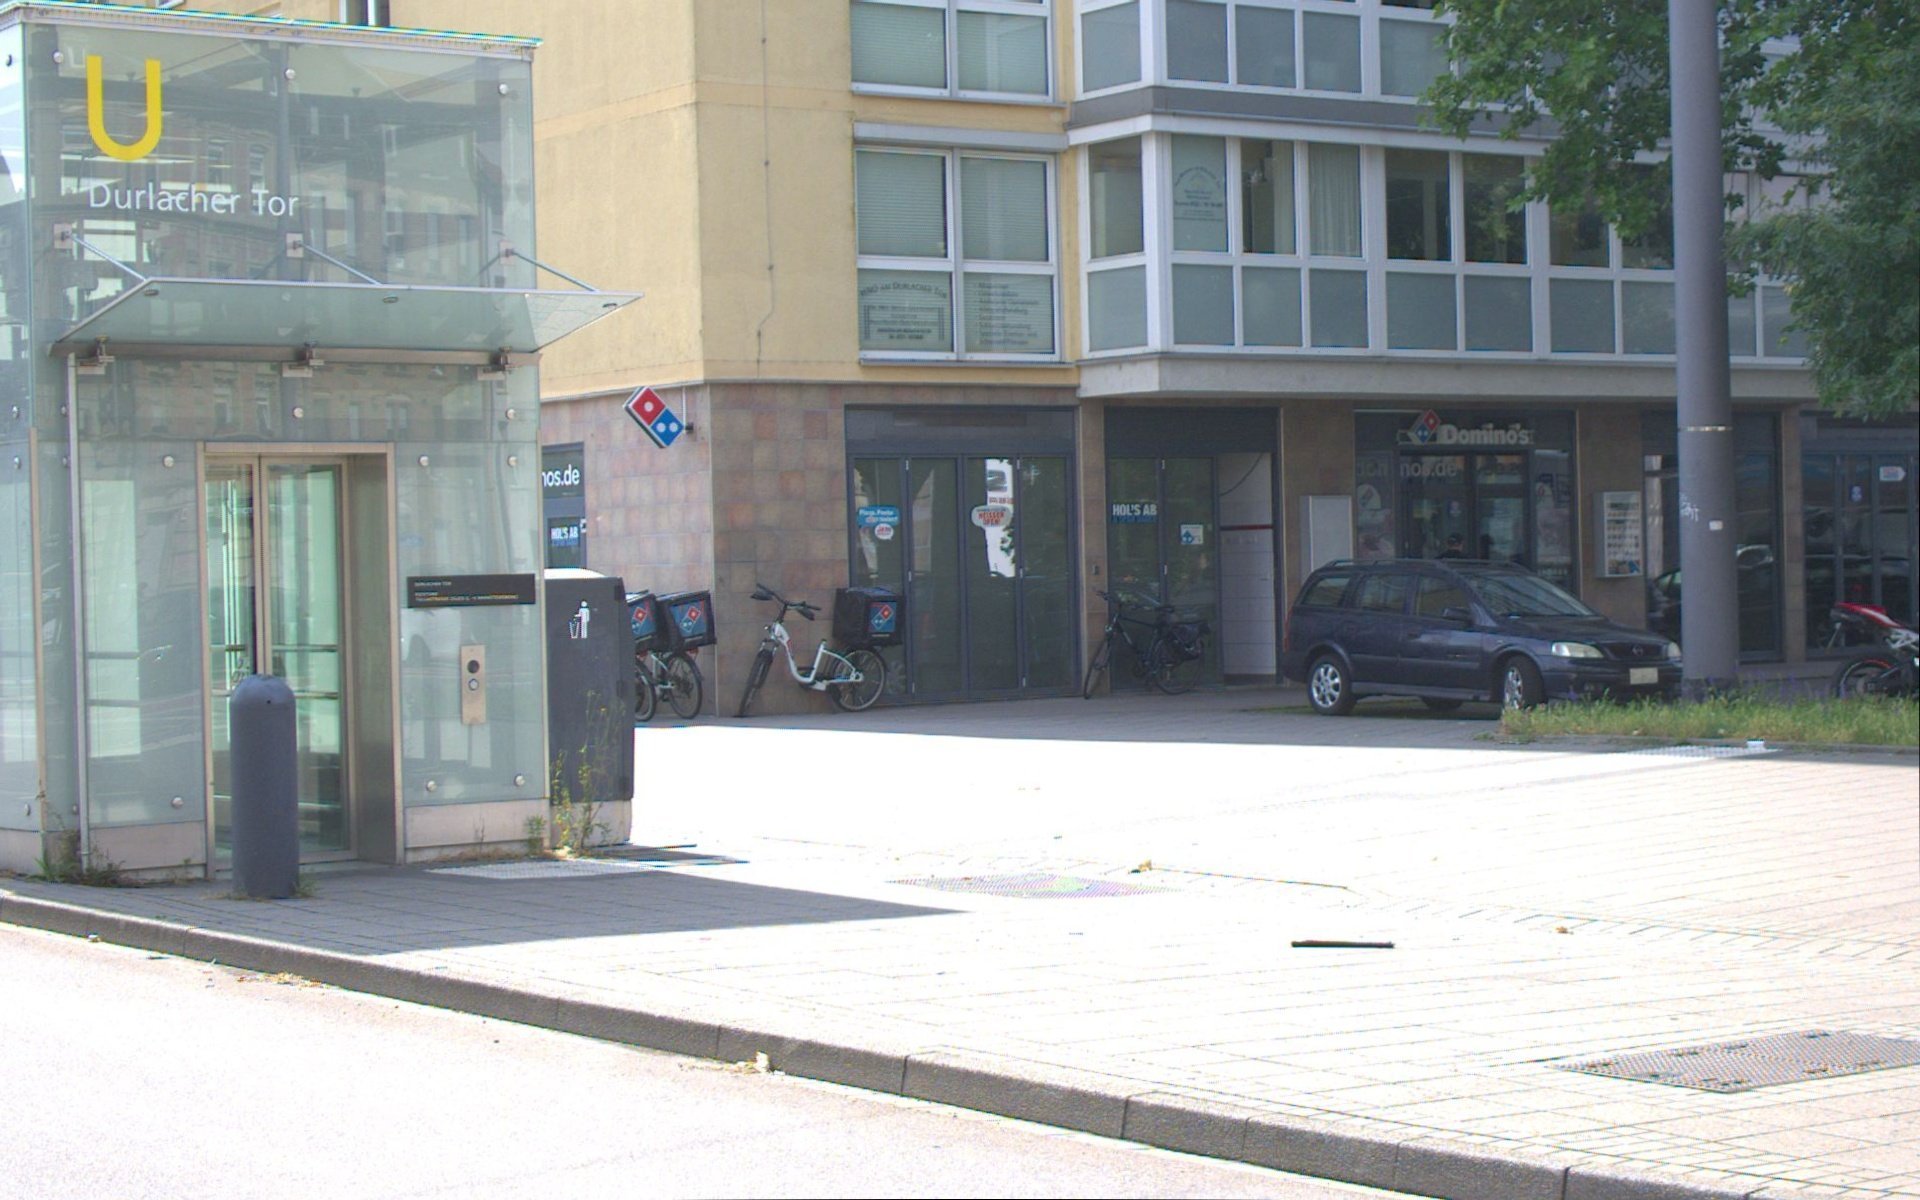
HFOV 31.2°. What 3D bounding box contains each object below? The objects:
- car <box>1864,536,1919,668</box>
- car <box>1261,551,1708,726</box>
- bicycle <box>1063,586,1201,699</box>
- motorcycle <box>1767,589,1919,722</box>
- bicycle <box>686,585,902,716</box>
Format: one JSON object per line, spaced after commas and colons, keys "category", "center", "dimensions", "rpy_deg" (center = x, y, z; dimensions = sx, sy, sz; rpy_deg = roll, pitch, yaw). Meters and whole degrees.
{"category": "car", "center": [12.442, -0.005, 38.832], "dimensions": [1.803, 1.509, 4.095], "rpy_deg": [-2, 1, -35]}
{"category": "car", "center": [4.864, 0.330, 32.354], "dimensions": [1.803, 1.509, 4.095], "rpy_deg": [-2, 1, -35]}
{"category": "bicycle", "center": [1.805, 0.439, 36.072], "dimensions": [1.342, 1.125, 0.594], "rpy_deg": [-1, 2, -31]}
{"category": "motorcycle", "center": [7.541, 0.435, 27.038], "dimensions": [2.288, 1.027, 0.974], "rpy_deg": [-1, -1, 15]}
{"category": "bicycle", "center": [-1.606, 0.480, 33.608], "dimensions": [2.189, 1.198, 0.478], "rpy_deg": [-1, 3, -35]}
